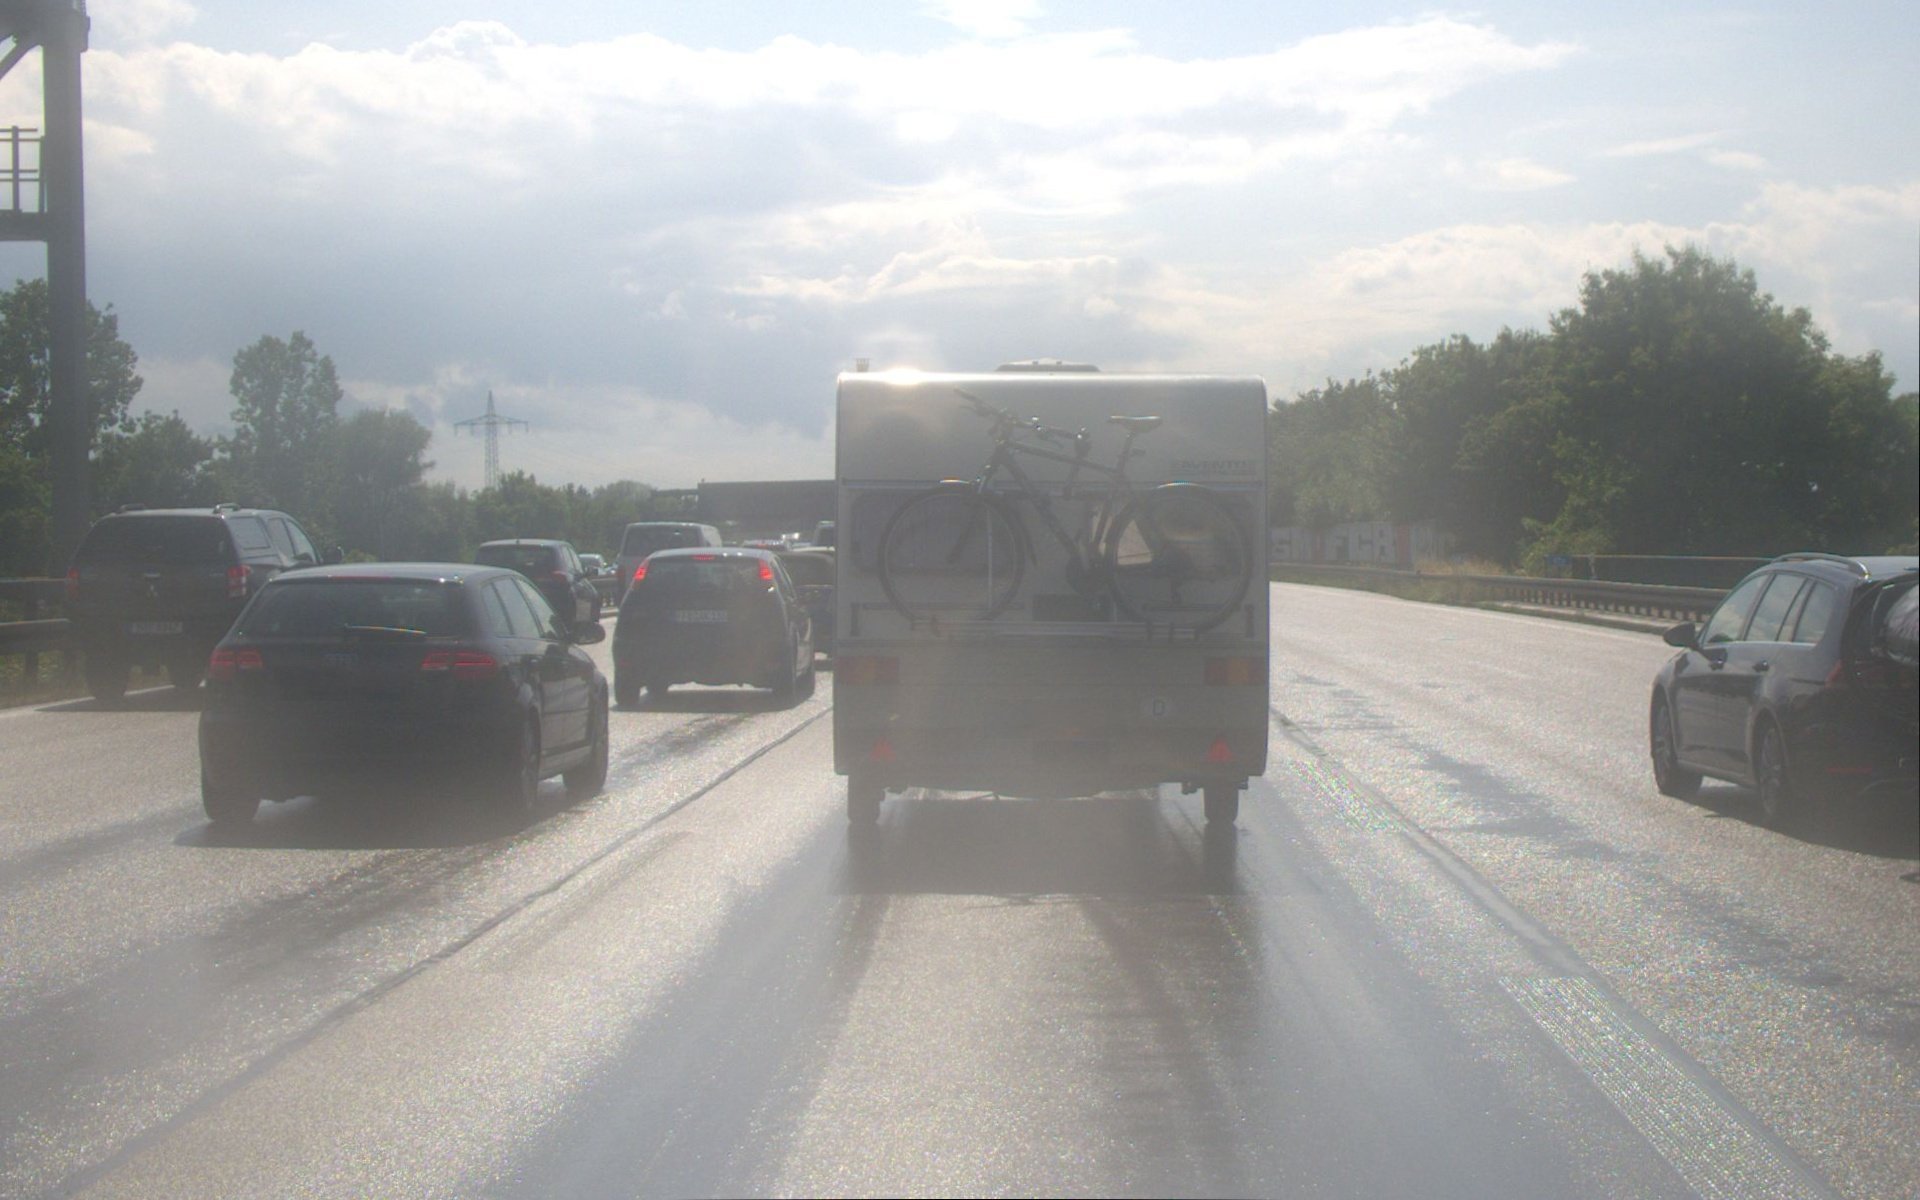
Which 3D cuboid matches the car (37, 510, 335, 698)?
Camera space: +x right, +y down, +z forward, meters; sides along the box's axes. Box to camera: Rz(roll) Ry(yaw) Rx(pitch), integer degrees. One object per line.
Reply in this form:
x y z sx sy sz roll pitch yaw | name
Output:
-7.501 0.011 33.709 1.993 1.714 4.000 1 1 0 | car

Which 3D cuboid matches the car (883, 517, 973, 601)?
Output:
-0.759 -1.026 85.129 1.994 2.007 4.000 -1 1 2 | car

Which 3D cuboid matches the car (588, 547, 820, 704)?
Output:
-2.409 0.208 33.240 1.806 1.402 4.000 1 1 2 | car

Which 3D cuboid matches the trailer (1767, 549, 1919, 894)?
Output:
4.975 0.496 15.377 1.854 1.437 4.148 0 1 1 | trailer

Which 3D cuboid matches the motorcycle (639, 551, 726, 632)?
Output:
-4.438 -0.148 55.158 1.074 1.267 2.690 0 1 2 | motorcycle

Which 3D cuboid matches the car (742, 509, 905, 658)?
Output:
-1.994 -0.269 51.353 1.994 2.007 4.000 4 1 2 | car

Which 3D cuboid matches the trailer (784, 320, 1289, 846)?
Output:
0.446 -0.125 19.655 2.374 2.475 6.523 1 1 1 | trailer

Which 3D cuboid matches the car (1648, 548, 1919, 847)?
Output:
5.062 0.440 18.788 1.854 1.437 4.258 0 1 1 | car

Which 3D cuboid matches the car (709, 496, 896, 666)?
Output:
-1.924 -0.263 43.137 1.994 2.007 4.000 1 1 2 | car

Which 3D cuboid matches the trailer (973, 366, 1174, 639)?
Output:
1.999 -1.553 56.903 3.007 4.152 8.535 1 1 4 | trailer

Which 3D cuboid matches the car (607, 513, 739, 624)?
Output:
-5.653 -0.633 68.142 1.994 2.007 4.000 4 1 2 | car

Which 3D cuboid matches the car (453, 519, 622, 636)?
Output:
-6.545 -0.370 53.626 1.994 1.766 4.000 0 1 2 | car

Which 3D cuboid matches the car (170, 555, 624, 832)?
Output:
-3.055 0.448 19.429 1.757 1.382 3.945 0 1 3 | car

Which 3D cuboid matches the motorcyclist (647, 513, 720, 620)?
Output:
-4.439 -0.540 55.211 1.064 1.712 0.785 0 1 2 | motorcyclist

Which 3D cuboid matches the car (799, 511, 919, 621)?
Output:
-1.882 -0.657 65.163 1.994 2.007 4.000 0 1 2 | car
